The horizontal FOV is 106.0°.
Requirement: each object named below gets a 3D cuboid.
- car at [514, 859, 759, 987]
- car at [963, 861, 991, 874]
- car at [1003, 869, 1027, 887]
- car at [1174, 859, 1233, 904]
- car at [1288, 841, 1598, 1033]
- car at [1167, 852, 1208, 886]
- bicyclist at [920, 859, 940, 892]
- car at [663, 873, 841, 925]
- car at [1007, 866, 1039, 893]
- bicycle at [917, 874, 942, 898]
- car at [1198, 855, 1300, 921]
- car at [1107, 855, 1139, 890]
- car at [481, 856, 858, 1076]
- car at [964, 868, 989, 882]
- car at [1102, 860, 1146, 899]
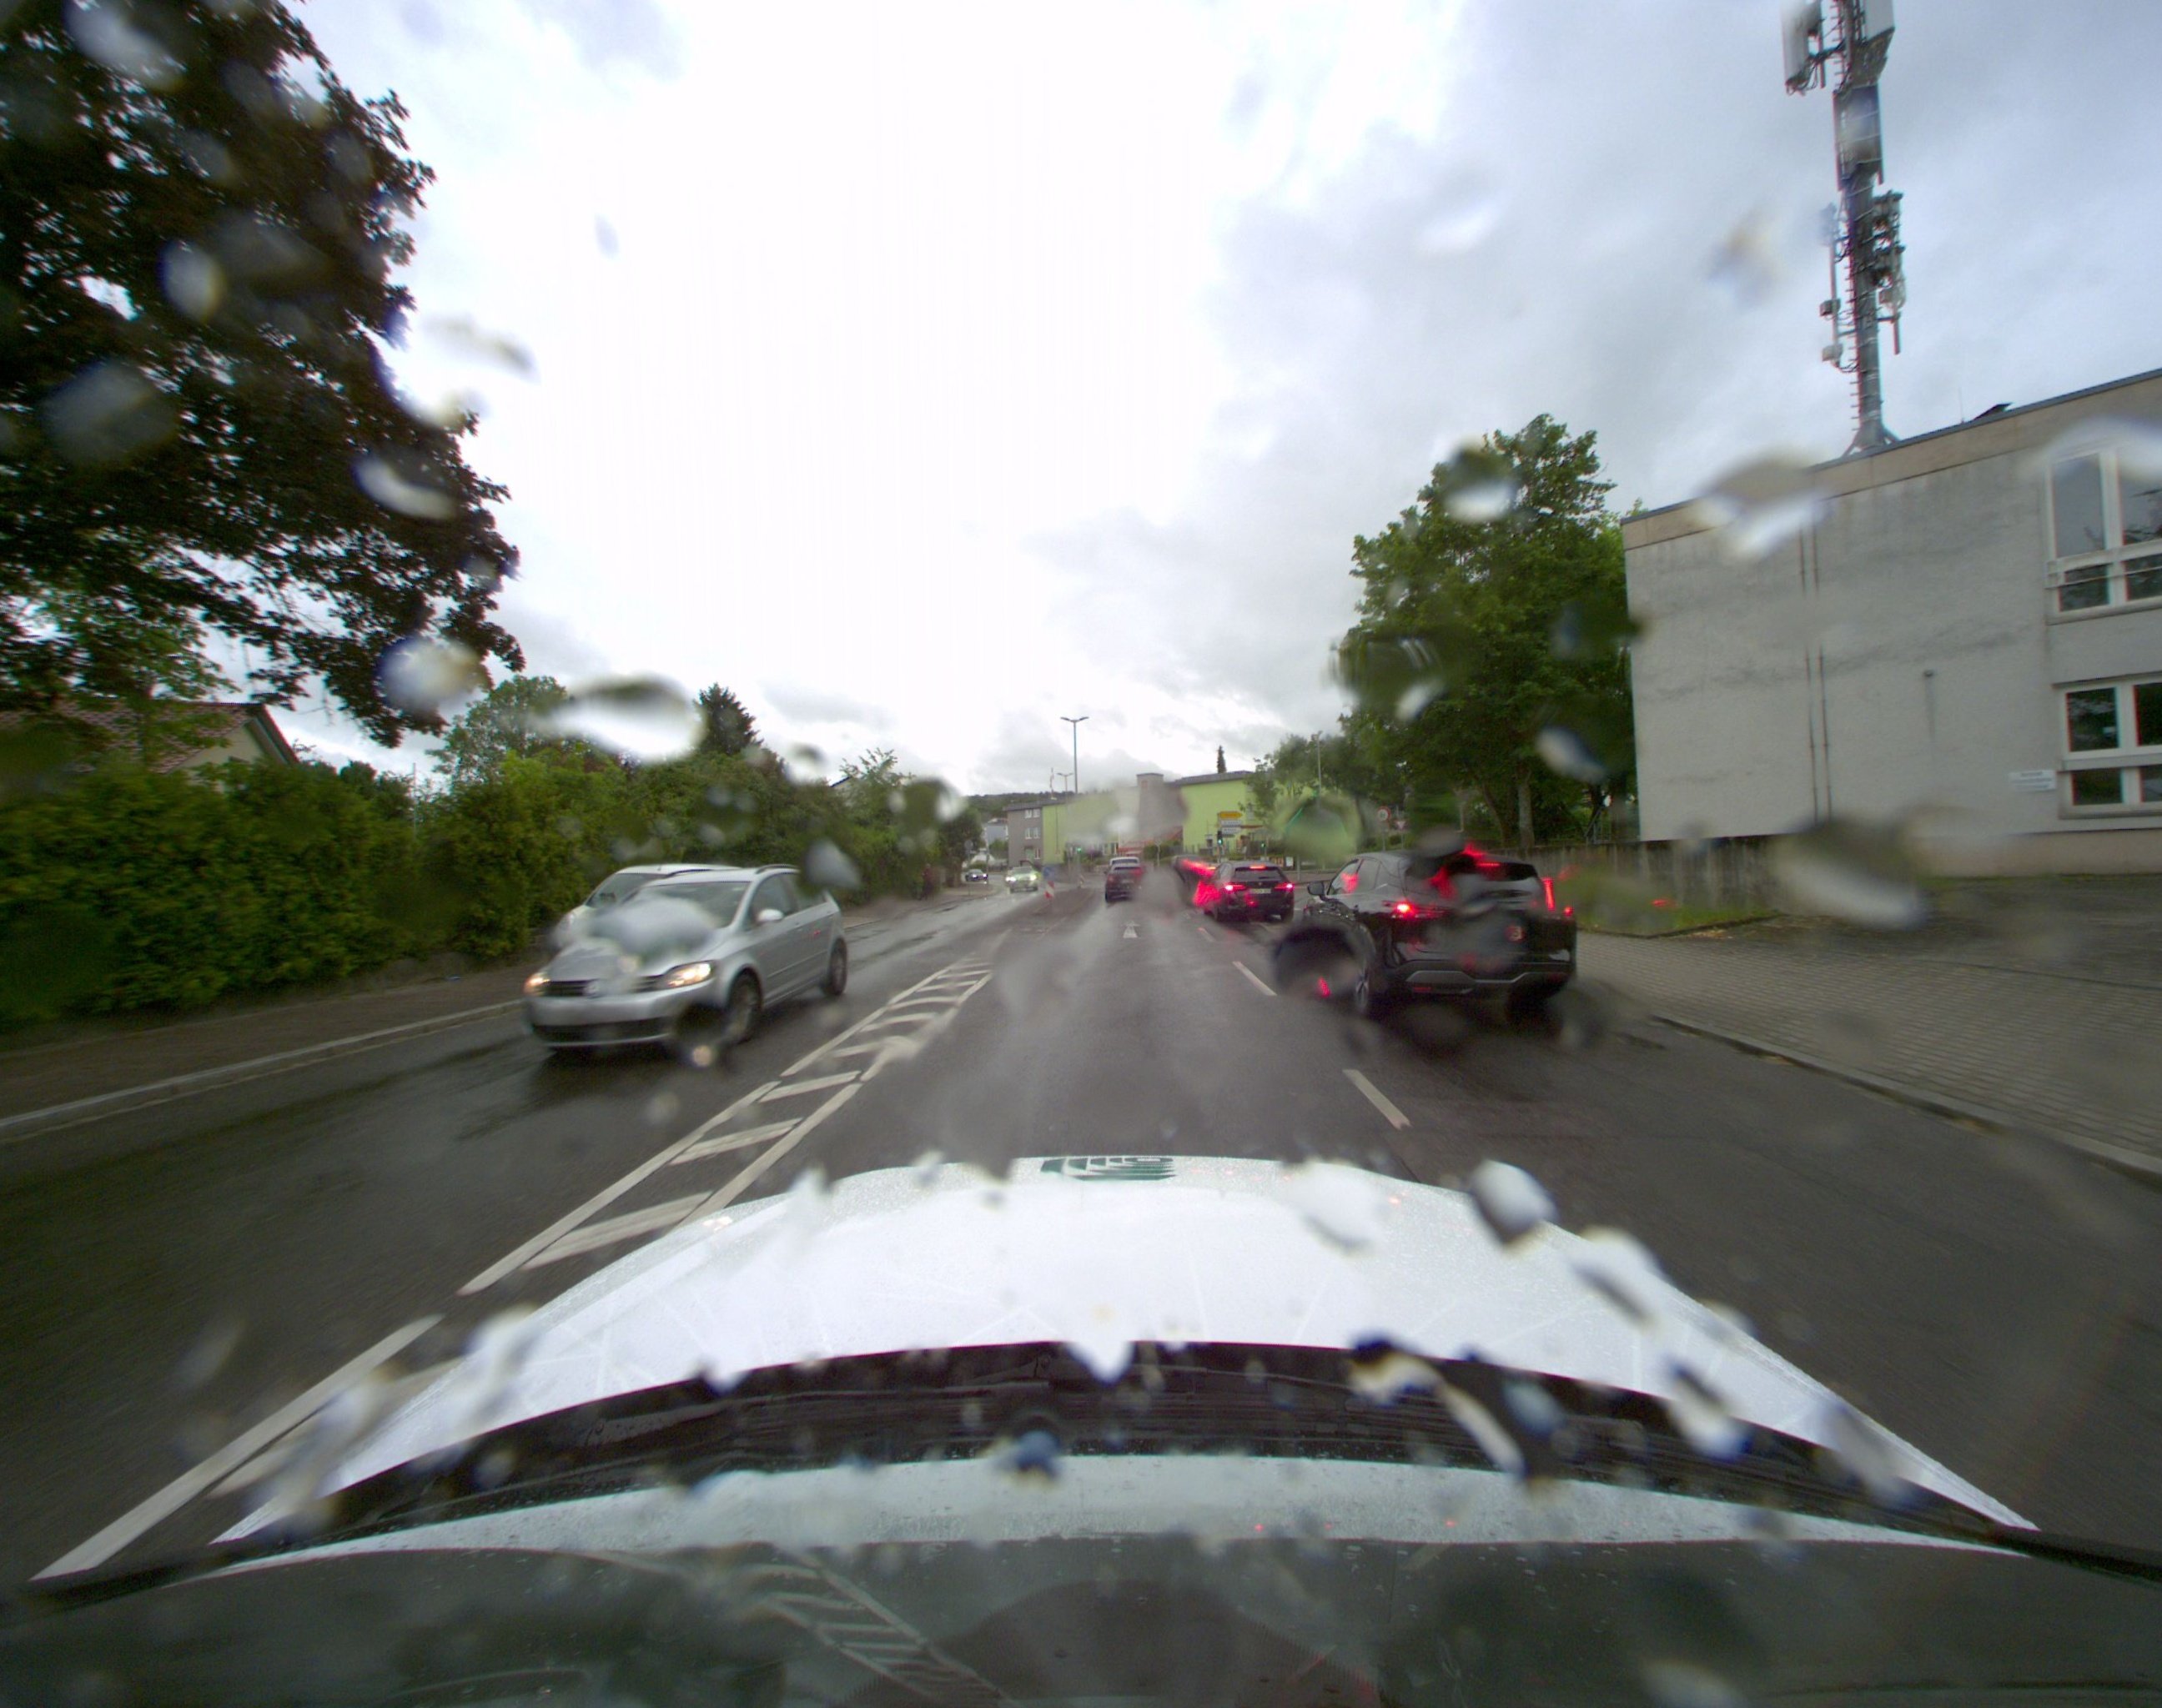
[{"bbox_3d":[-6.911,0.965,13.212,1.694,1.708,3.979,1,0,1],"label":"car"},{"bbox_3d":[-17.606,2.311,138.197,4.402,1.772,1.990,-4,-1,-14],"label":"car"},{"bbox_3d":[-6.137,2.176,75.537,1.992,1.574,3.989,-1,-1,-8],"label":"car"},{"bbox_3d":[4.375,0.939,29.563,1.699,1.427,4.513,-2,0,4],"label":"car"},{"bbox_3d":[3.571,0.671,8.953,1.782,1.603,4.258,-1,1,4],"label":"car"},{"bbox_3d":[5.696,0.786,43.963,1.776,1.734,4.088,-1,0,2],"label":"car"},{"bbox_3d":[-7.353,1.043,39.743,0.761,1.612,0.868,-1,-1,2],"label":"bicyclist"},{"bbox_3d":[-9.585,1.291,24.004,4.473,1.362,1.803,0,1,-4],"label":"car"},{"bbox_3d":[-4.122,1.781,58.226,2.036,1.716,4.477,-3,0,-2],"label":"car"},{"bbox_3d":[-7.377,1.551,39.697,0.744,1.086,1.990,-1,-1,2],"label":"bicycle"},{"bbox_3d":[4.291,0.814,21.559,1.897,1.458,4.781,-2,0,3],"label":"car"},{"bbox_3d":[2.343,0.972,45.399,1.710,1.844,4.090,-1,0,3],"label":"car"},{"bbox_3d":[-3.767,0.878,8.378,1.629,1.579,4.058,-5,0,1],"label":"car"},{"bbox_3d":[-13.084,2.678,101.790,1.802,1.489,4.118,-4,-1,-26],"label":"car"},{"bbox_3d":[1.799,1.049,34.864,1.677,1.506,3.774,-3,-1,1],"label":"car"}]
